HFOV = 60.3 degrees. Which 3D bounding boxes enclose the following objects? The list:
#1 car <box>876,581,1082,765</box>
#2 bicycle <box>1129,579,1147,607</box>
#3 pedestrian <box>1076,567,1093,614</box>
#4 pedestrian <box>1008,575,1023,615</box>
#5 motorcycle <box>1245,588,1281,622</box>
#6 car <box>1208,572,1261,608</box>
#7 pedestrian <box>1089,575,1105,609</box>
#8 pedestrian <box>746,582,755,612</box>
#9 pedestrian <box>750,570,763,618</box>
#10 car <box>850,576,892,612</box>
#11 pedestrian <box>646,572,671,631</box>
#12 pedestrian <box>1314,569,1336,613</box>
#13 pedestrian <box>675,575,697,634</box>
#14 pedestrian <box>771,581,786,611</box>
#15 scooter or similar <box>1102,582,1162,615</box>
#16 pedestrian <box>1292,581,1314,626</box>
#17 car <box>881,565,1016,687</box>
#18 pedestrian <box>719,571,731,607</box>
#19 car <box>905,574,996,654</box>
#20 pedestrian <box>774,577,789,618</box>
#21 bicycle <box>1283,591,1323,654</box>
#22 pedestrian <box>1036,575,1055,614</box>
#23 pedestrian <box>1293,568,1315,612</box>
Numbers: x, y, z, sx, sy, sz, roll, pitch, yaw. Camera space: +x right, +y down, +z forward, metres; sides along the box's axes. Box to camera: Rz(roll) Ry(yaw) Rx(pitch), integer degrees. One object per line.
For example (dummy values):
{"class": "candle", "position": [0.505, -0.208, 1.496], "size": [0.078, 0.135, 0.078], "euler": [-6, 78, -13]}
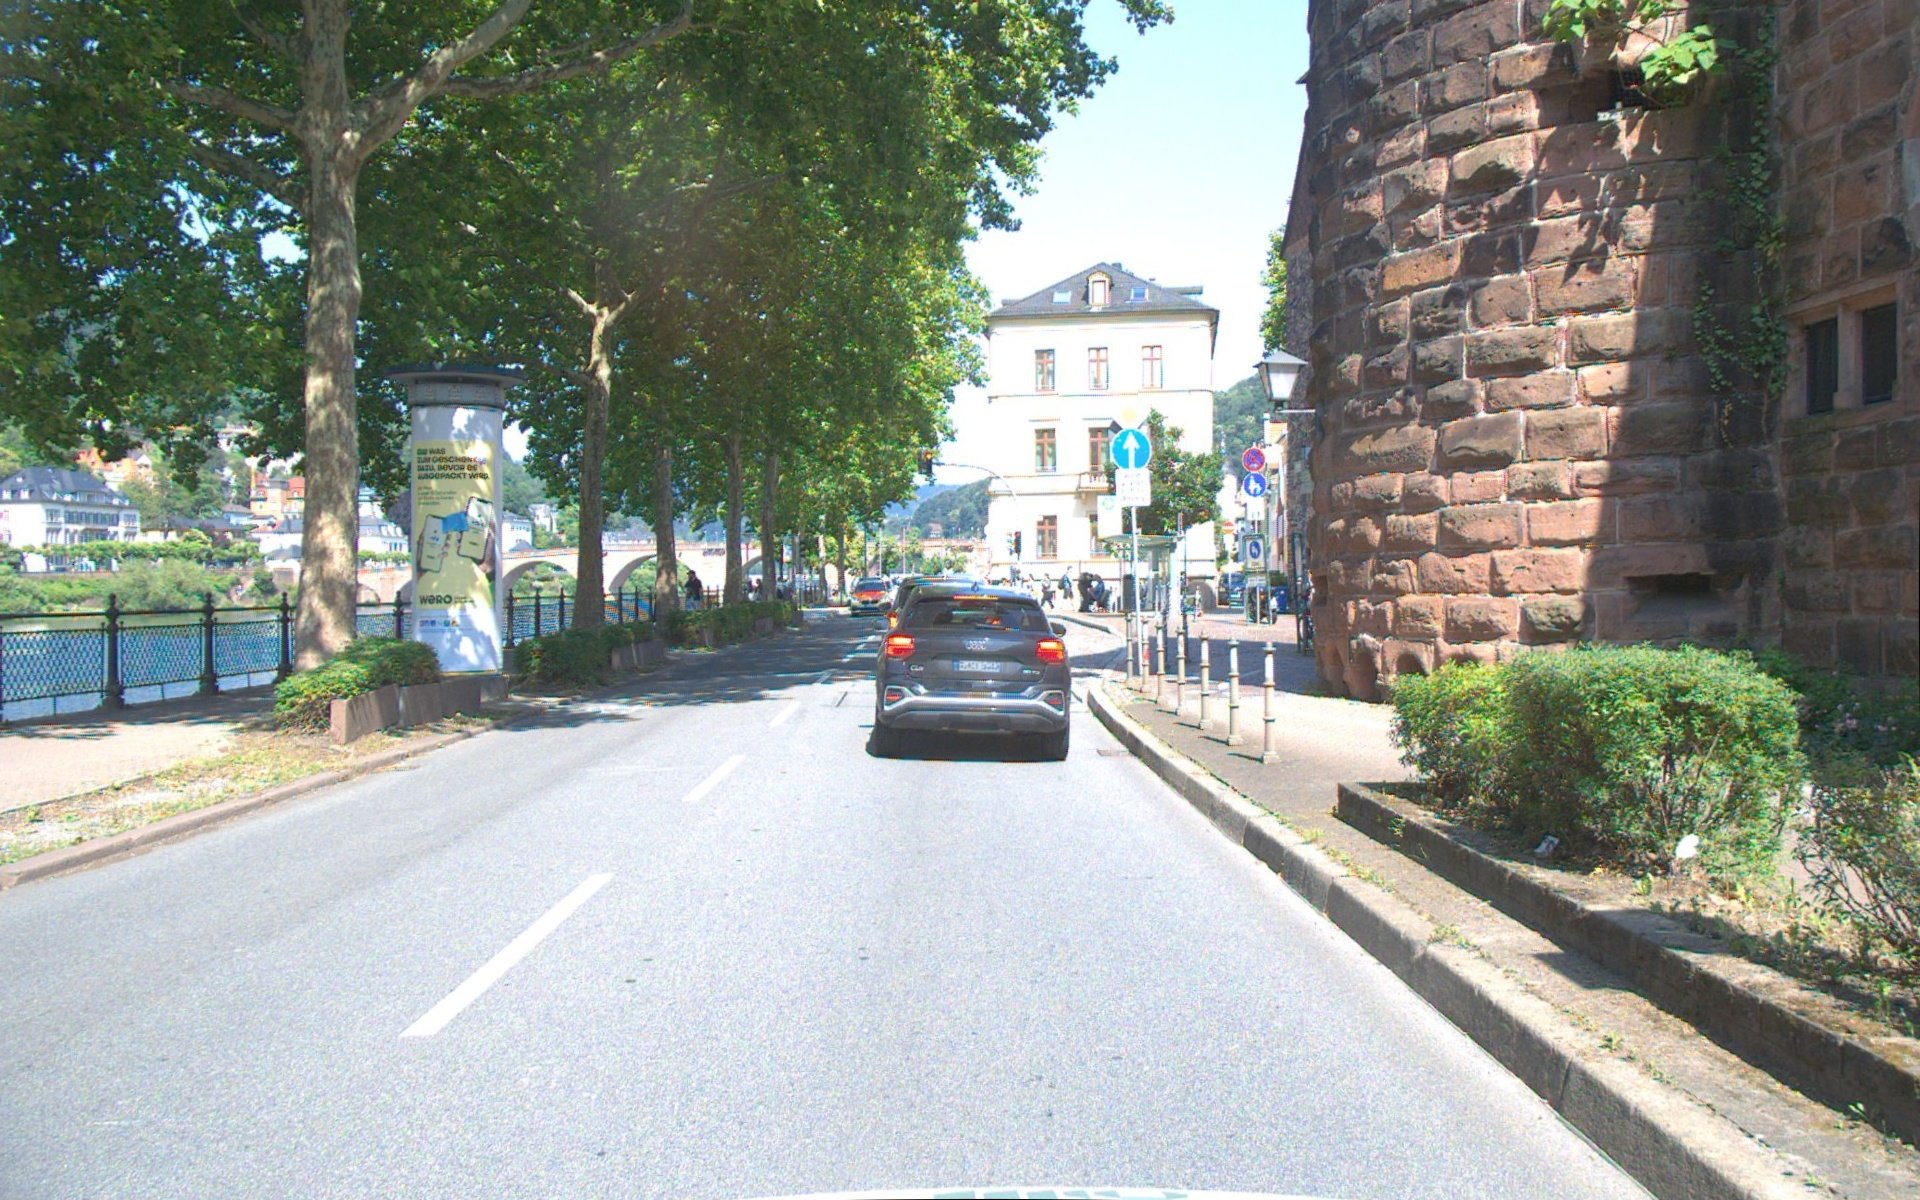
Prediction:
{"class": "car", "position": [0.111, 0.595, 15.814], "size": [1.713, 1.520, 3.628], "euler": [1, 1, -2]}
{"class": "bicycle", "position": [6.451, -0.258, 59.974], "size": [0.441, 0.991, 1.399], "euler": [1, 0, 0]}
{"class": "pedestrian", "position": [4.458, -0.332, 59.424], "size": [0.545, 1.661, 0.660], "euler": [1, 0, 0]}
{"class": "pedestrian", "position": [2.188, -0.205, 65.203], "size": [0.545, 1.585, 0.660], "euler": [1, 0, 0]}
{"class": "motorcycle", "position": [7.736, 0.110, 42.330], "size": [0.474, 0.832, 2.279], "euler": [-2, 1, 0]}
{"class": "car", "position": [13.992, -0.515, 84.511], "size": [1.953, 1.746, 4.000], "euler": [2, 0, 0]}
{"class": "pedestrian", "position": [4.976, -0.295, 60.148], "size": [0.535, 1.222, 0.522], "euler": [1, 0, 0]}
{"class": "pedestrian", "position": [-10.261, -0.146, 80.982], "size": [0.401, 1.450, 0.456], "euler": [1, 0, -5]}
{"class": "pedestrian", "position": [-8.565, -0.237, 69.610], "size": [0.490, 1.992, 0.438], "euler": [-2, 0, -8]}
{"class": "car", "position": [-3.973, -0.294, 74.291], "size": [1.581, 1.549, 3.477], "euler": [-2, 1, 1]}
{"class": "pedestrian", "position": [-9.034, 0.035, 49.586], "size": [0.632, 1.747, 0.665], "euler": [1, 0, -4]}
{"class": "pedestrian", "position": [13.116, -0.333, 59.425], "size": [0.644, 1.544, 0.627], "euler": [1, 0, 1]}
{"class": "pedestrian", "position": [-8.223, 0.133, 49.600], "size": [0.552, 1.772, 0.665], "euler": [1, 0, -4]}
{"class": "pedestrian", "position": [-8.217, -0.185, 75.058], "size": [0.579, 1.301, 0.525], "euler": [2, 0, -1]}
{"class": "scooter or similar", "position": [5.376, -0.056, 51.767], "size": [1.808, 0.980, 0.429], "euler": [2, 0, -1]}
{"class": "pedestrian", "position": [11.750, 0.106, 56.666], "size": [0.644, 1.519, 0.548], "euler": [1, 0, 1]}
{"class": "car", "position": [-0.155, 0.326, 24.050], "size": [1.764, 1.589, 3.716], "euler": [-2, 1, 0]}
{"class": "pedestrian", "position": [-10.299, -0.467, 72.519], "size": [0.488, 1.564, 0.679], "euler": [2, 0, -8]}
{"class": "car", "position": [-0.193, 0.250, 34.245], "size": [1.764, 1.549, 3.716], "euler": [-1, 1, 0]}
{"class": "pedestrian", "position": [-7.423, -0.103, 68.765], "size": [0.508, 1.666, 0.437], "euler": [-2, 0, -12]}
{"class": "bicycle", "position": [5.999, 0.376, 28.997], "size": [0.485, 1.048, 2.052], "euler": [-2, 0, 7]}
{"class": "pedestrian", "position": [3.546, -0.231, 68.568], "size": [0.731, 1.585, 0.588], "euler": [1, 0, 0]}
{"class": "pedestrian", "position": [12.380, -0.353, 59.459], "size": [0.644, 1.544, 0.548], "euler": [1, 0, 1]}
